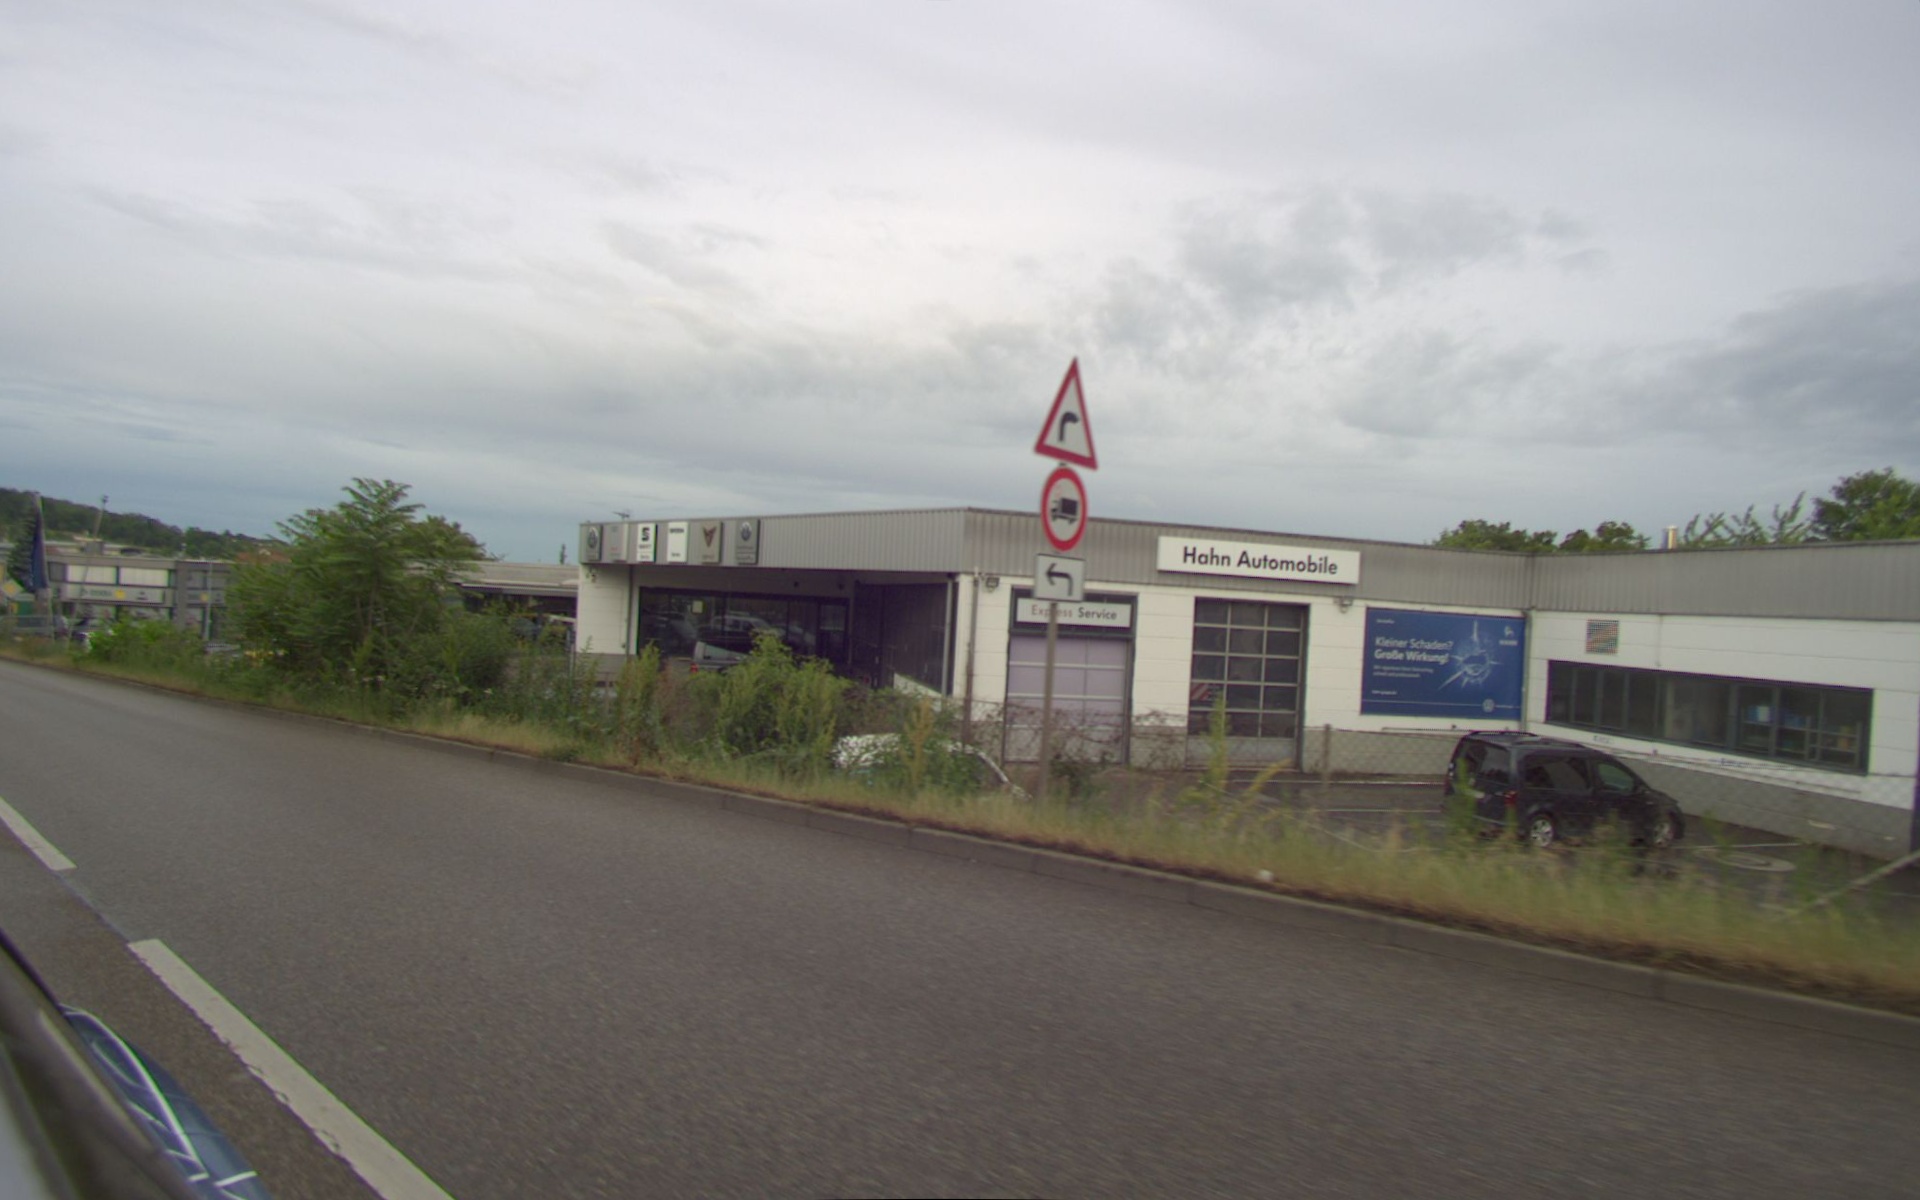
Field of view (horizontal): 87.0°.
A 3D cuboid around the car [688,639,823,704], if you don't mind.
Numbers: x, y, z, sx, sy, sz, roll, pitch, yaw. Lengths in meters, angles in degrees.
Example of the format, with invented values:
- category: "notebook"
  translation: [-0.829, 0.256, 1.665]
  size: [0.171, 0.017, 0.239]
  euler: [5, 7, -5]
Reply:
- category: "car"
  translation: [-7.194, 2.483, 35.542]
  size: [4.410, 1.975, 1.994]
  euler: [4, -3, -14]

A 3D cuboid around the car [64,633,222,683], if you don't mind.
- category: "car"
  translation: [-31.273, 2.210, 38.865]
  size: [1.932, 1.811, 4.369]
  euler: [-1, -3, 39]

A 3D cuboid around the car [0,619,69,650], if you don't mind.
- category: "car"
  translation: [-60.237, 2.193, 64.362]
  size: [1.816, 1.885, 5.029]
  euler: [0, -3, 31]

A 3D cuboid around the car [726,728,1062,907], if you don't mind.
- category: "car"
  translation: [-0.662, 2.753, 13.568]
  size: [1.864, 1.817, 4.583]
  euler: [-1, -7, 37]

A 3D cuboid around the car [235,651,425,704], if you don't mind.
- category: "car"
  translation: [-16.860, 2.041, 27.198]
  size: [4.015, 1.301, 1.806]
  euler: [3, -3, -44]

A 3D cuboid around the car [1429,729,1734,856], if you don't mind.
- category: "car"
  translation: [11.030, 3.405, 18.065]
  size: [4.565, 1.817, 1.872]
  euler: [5, -6, -12]

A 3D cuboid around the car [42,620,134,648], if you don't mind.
- category: "car"
  translation: [-63.286, 2.440, 73.494]
  size: [4.804, 2.002, 2.002]
  euler: [0, -1, -4]

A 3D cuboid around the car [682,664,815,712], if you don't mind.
- category: "car"
  translation: [-6.743, 2.778, 32.161]
  size: [3.954, 1.427, 1.959]
  euler: [2, -3, -16]
